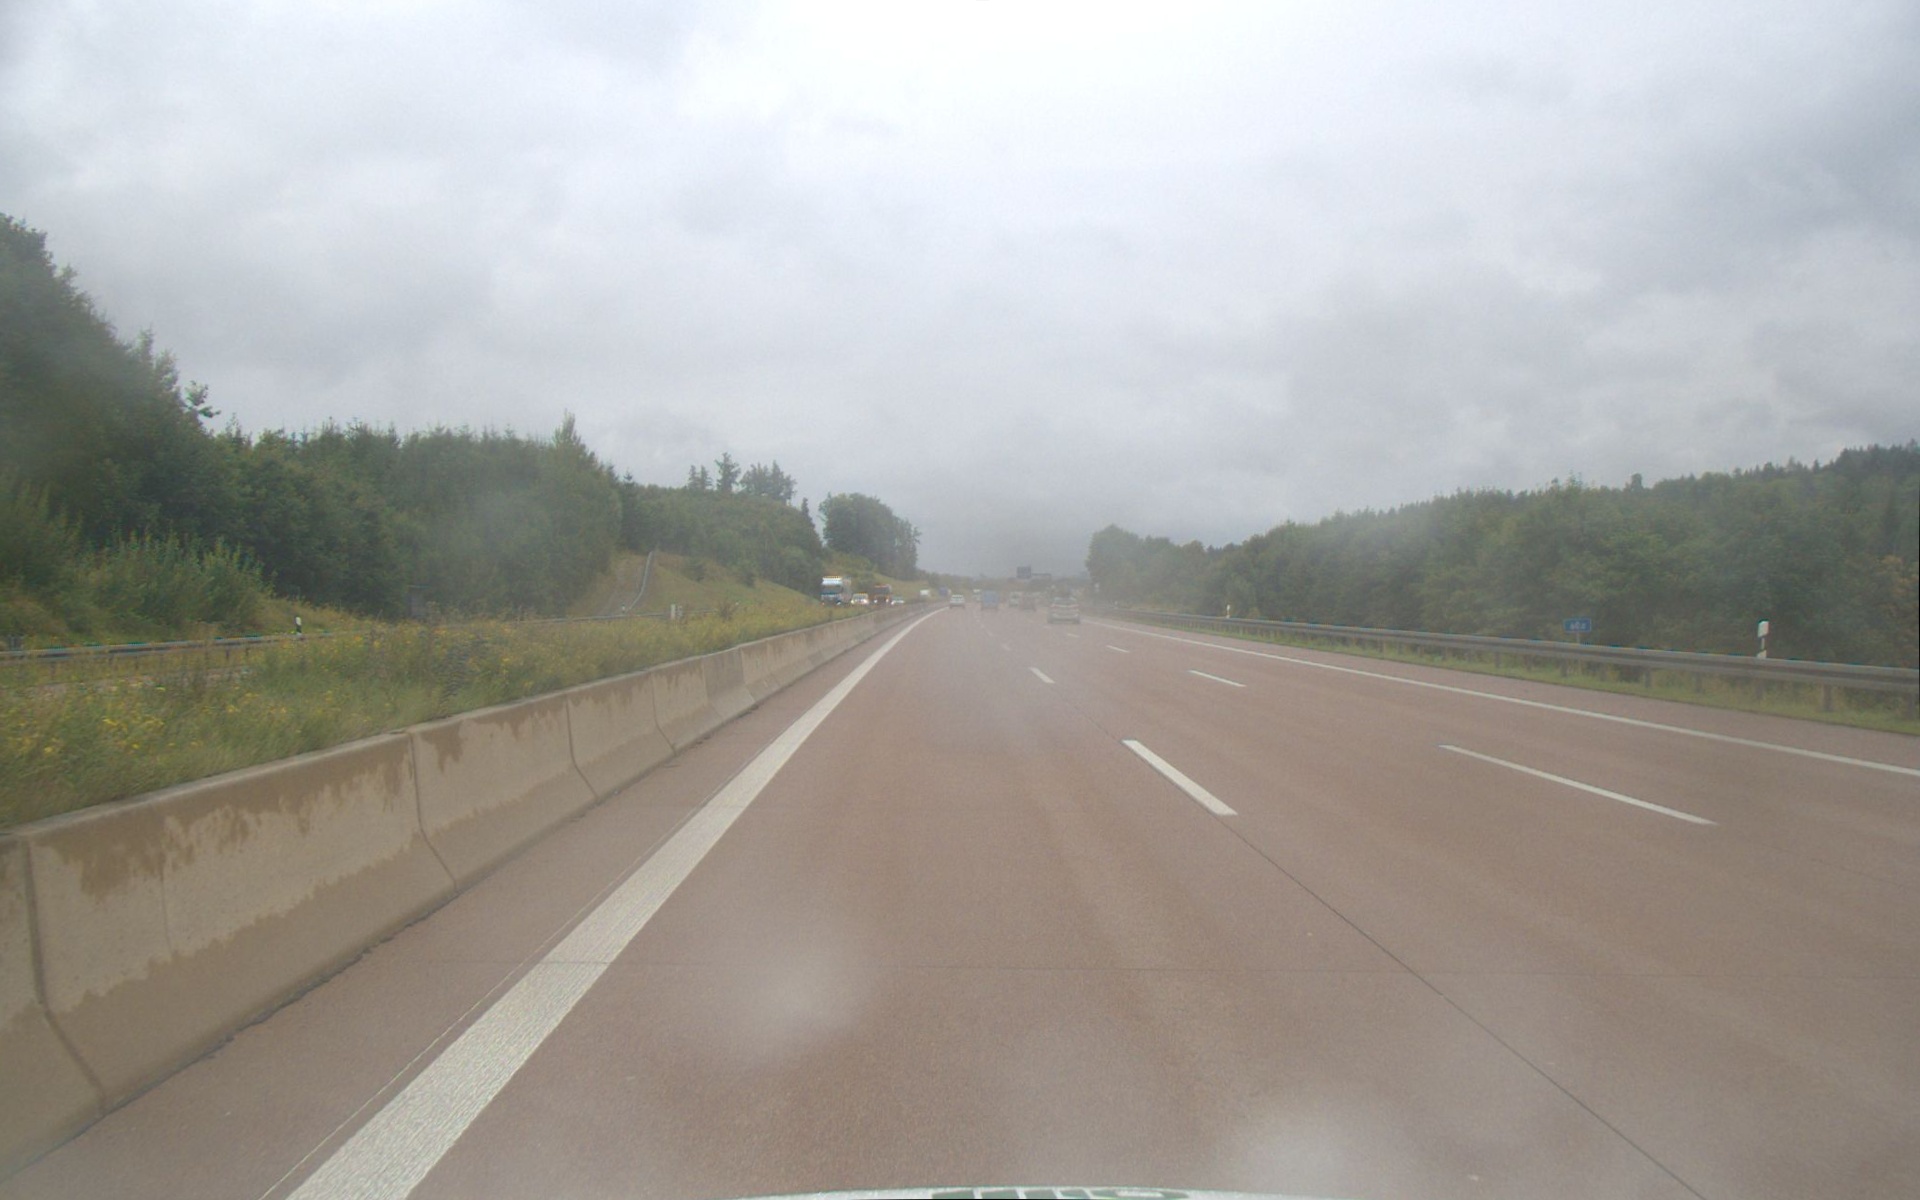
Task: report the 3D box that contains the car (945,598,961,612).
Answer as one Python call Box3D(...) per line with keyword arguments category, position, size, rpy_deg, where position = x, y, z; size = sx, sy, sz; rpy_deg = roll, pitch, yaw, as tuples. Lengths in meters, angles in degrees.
Box3D(category="car", position=(-0.828, 0.575, 193.543), size=(1.836, 1.470, 4.875), rpy_deg=(1, -1, -1))

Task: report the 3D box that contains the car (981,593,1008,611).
Box3D(category="car", position=(3.618, 0.181, 174.350), size=(2.277, 1.780, 4.872), rpy_deg=(1, -1, -4))

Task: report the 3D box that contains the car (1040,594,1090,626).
Box3D(category="car", position=(6.245, 0.618, 98.845), size=(2.277, 1.780, 4.872), rpy_deg=(1, -1, -4))

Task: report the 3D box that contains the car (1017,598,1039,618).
Box3D(category="car", position=(7.337, 0.883, 178.506), size=(1.954, 2.049, 3.996), rpy_deg=(1, -1, -4))
